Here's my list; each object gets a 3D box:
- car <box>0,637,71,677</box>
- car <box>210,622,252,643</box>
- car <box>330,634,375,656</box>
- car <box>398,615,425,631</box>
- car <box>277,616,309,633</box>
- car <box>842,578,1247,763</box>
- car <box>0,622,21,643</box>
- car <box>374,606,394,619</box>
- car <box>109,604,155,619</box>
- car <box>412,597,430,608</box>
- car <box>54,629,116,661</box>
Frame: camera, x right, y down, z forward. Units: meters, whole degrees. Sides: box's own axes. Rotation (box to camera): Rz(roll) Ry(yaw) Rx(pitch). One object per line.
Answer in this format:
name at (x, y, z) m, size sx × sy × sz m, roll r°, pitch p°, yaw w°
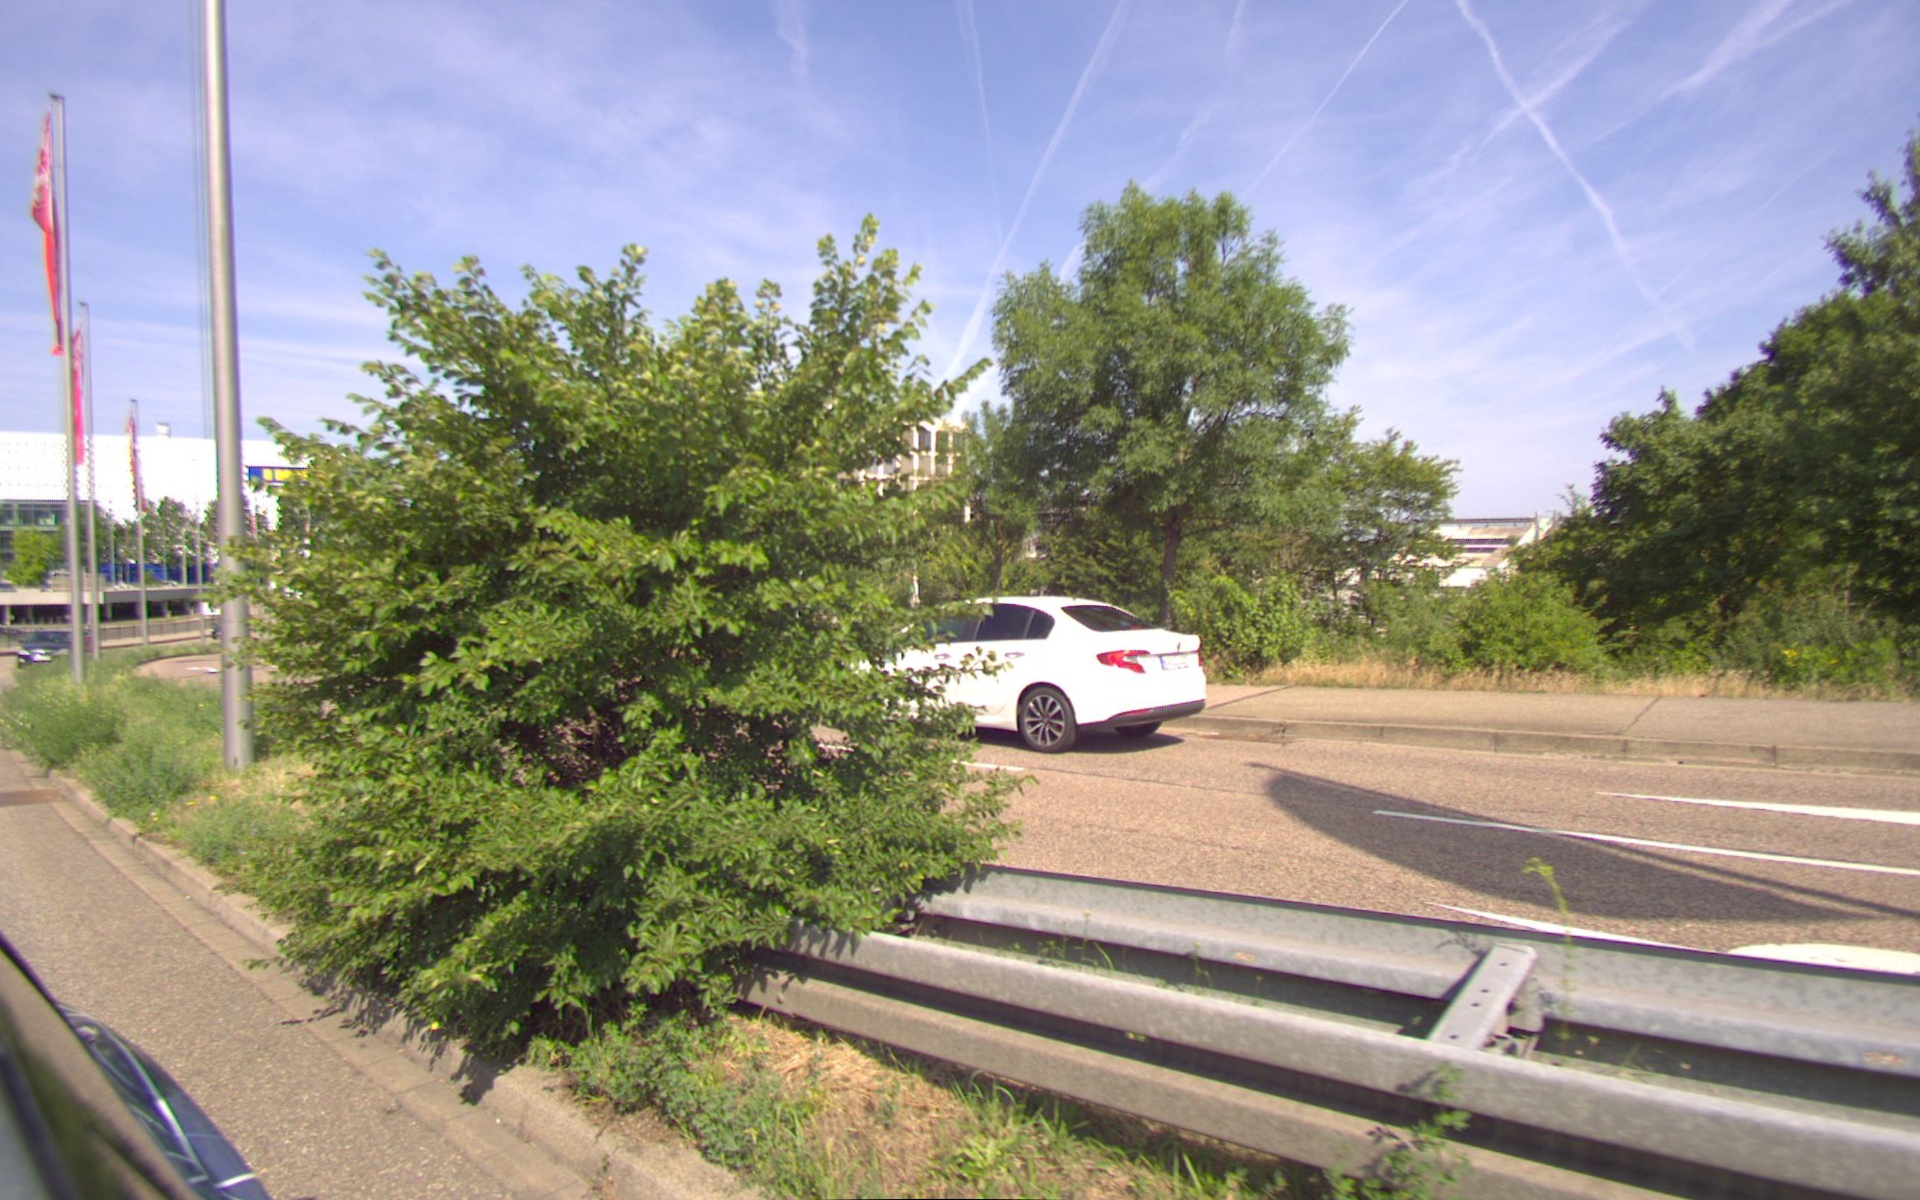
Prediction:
car at (-35.393, 2.190, 38.716) m, size 1.823 × 1.429 × 4.003 m, roll 3°, pitch -5°, yaw -44°
car at (-61.274, 2.692, 85.141) m, size 1.795 × 1.485 × 4.013 m, roll 0°, pitch 2°, yaw -20°
car at (-42.644, 3.173, 71.131) m, size 1.759 × 1.496 × 4.272 m, roll 1°, pitch -3°, yaw -17°
car at (-61.255, 2.564, 112.987) m, size 1.834 × 1.540 × 4.150 m, roll 0°, pitch 2°, yaw -42°
car at (-67.189, 2.432, 102.004) m, size 1.795 × 1.485 × 4.013 m, roll 0°, pitch 2°, yaw -20°
car at (0.746, 0.618, 10.609) m, size 4.000 × 1.563 × 1.777 m, roll 0°, pitch -1°, yaw 43°
car at (-83.908, 2.814, 86.962) m, size 4.345 × 1.745 × 1.867 m, roll -1°, pitch 2°, yaw -11°
car at (-78.610, 1.673, 138.180) m, size 1.795 × 1.485 × 4.013 m, roll 0°, pitch 2°, yaw -20°
car at (-106.614, 1.502, 130.369) m, size 4.243 × 1.848 × 2.007 m, roll 0°, pitch 0°, yaw -26°
car at (-83.498, 0.356, 156.831) m, size 1.795 × 1.485 × 4.013 m, roll 0°, pitch 2°, yaw -17°
car at (-49.528, 2.532, 57.376) m, size 1.748 × 1.671 × 4.157 m, roll 0°, pitch -2°, yaw -28°
